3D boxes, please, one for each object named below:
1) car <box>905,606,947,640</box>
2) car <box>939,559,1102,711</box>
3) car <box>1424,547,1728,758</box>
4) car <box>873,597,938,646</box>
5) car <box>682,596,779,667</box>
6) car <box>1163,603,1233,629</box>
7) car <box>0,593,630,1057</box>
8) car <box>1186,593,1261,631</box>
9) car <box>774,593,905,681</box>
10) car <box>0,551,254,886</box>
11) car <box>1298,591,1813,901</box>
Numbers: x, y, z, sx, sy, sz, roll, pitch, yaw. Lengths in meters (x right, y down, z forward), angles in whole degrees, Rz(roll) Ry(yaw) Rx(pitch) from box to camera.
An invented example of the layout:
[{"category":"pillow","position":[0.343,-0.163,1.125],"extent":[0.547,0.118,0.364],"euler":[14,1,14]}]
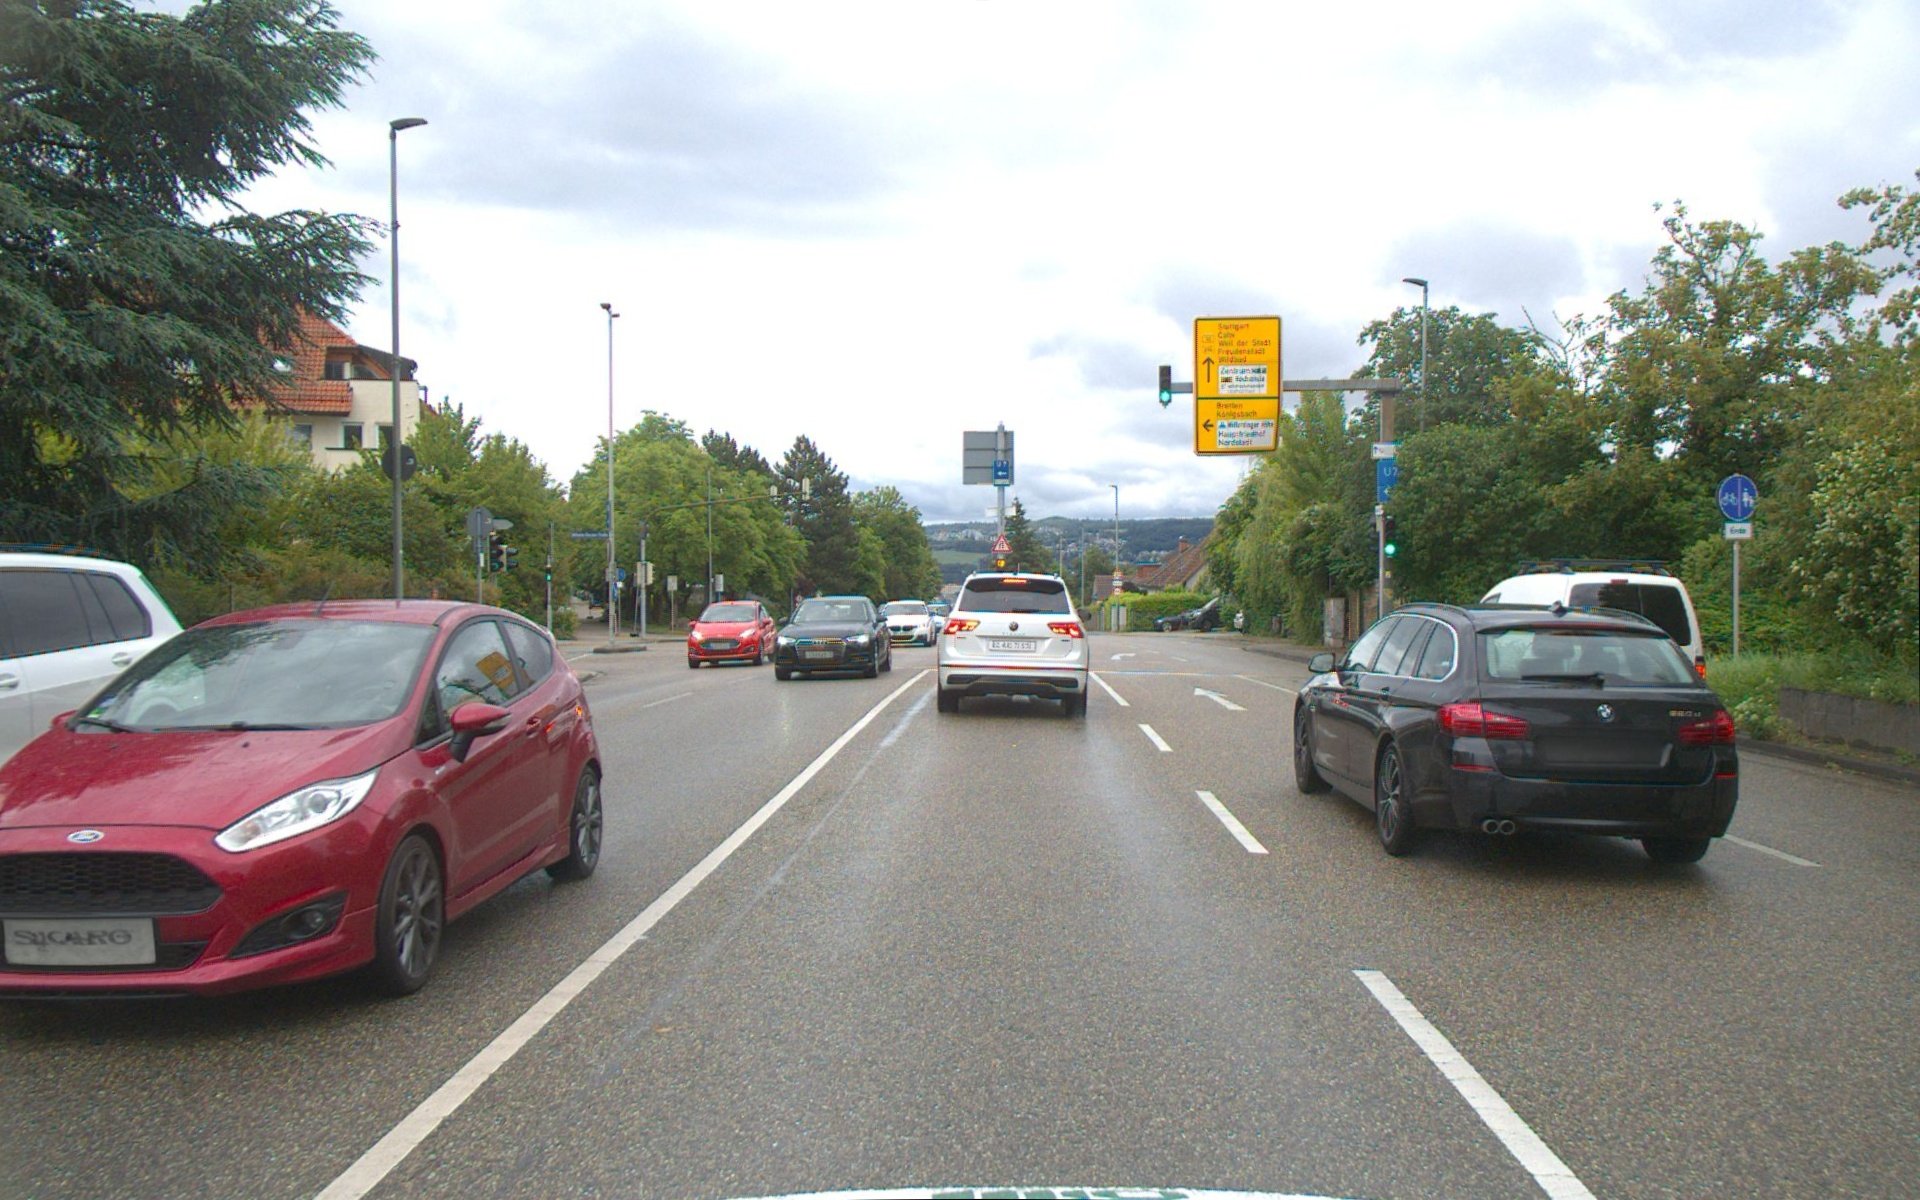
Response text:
[{"category":"car","position":[-1.562,1.055,77.804],"extent":[1.738,1.484,4.550],"euler":[-1,0,2]},{"category":"car","position":[0.738,0.408,20.750],"extent":[1.830,1.703,4.001],"euler":[1,0,2]},{"category":"car","position":[6.360,0.438,17.552],"extent":[1.729,1.909,3.806],"euler":[1,3,-1]},{"category":"car","position":[-1.688,0.657,52.483],"extent":[1.712,1.409,4.412],"euler":[-2,0,2]},{"category":"car","position":[-5.217,0.681,38.003],"extent":[1.598,1.482,3.703],"euler":[-2,0,1]},{"category":"car","position":[13.787,0.919,96.017],"extent":[3.903,1.400,1.586],"euler":[1,0,5]},{"category":"car","position":[-2.741,0.732,7.280],"extent":[1.646,1.444,3.842],"euler":[-2,0,2]},{"category":"car","position":[14.430,0.631,90.769],"extent":[3.903,1.990,1.586],"euler":[1,0,5]},{"category":"car","position":[-2.105,0.611,29.990],"extent":[1.853,1.428,4.266],"euler":[-1,0,3]},{"category":"car","position":[-6.088,0.670,9.237],"extent":[1.877,1.793,5.144],"euler":[-2,0,2]},{"category":"car","position":[3.498,0.749,10.589],"extent":[1.860,1.466,4.001],"euler":[4,1,1]}]
